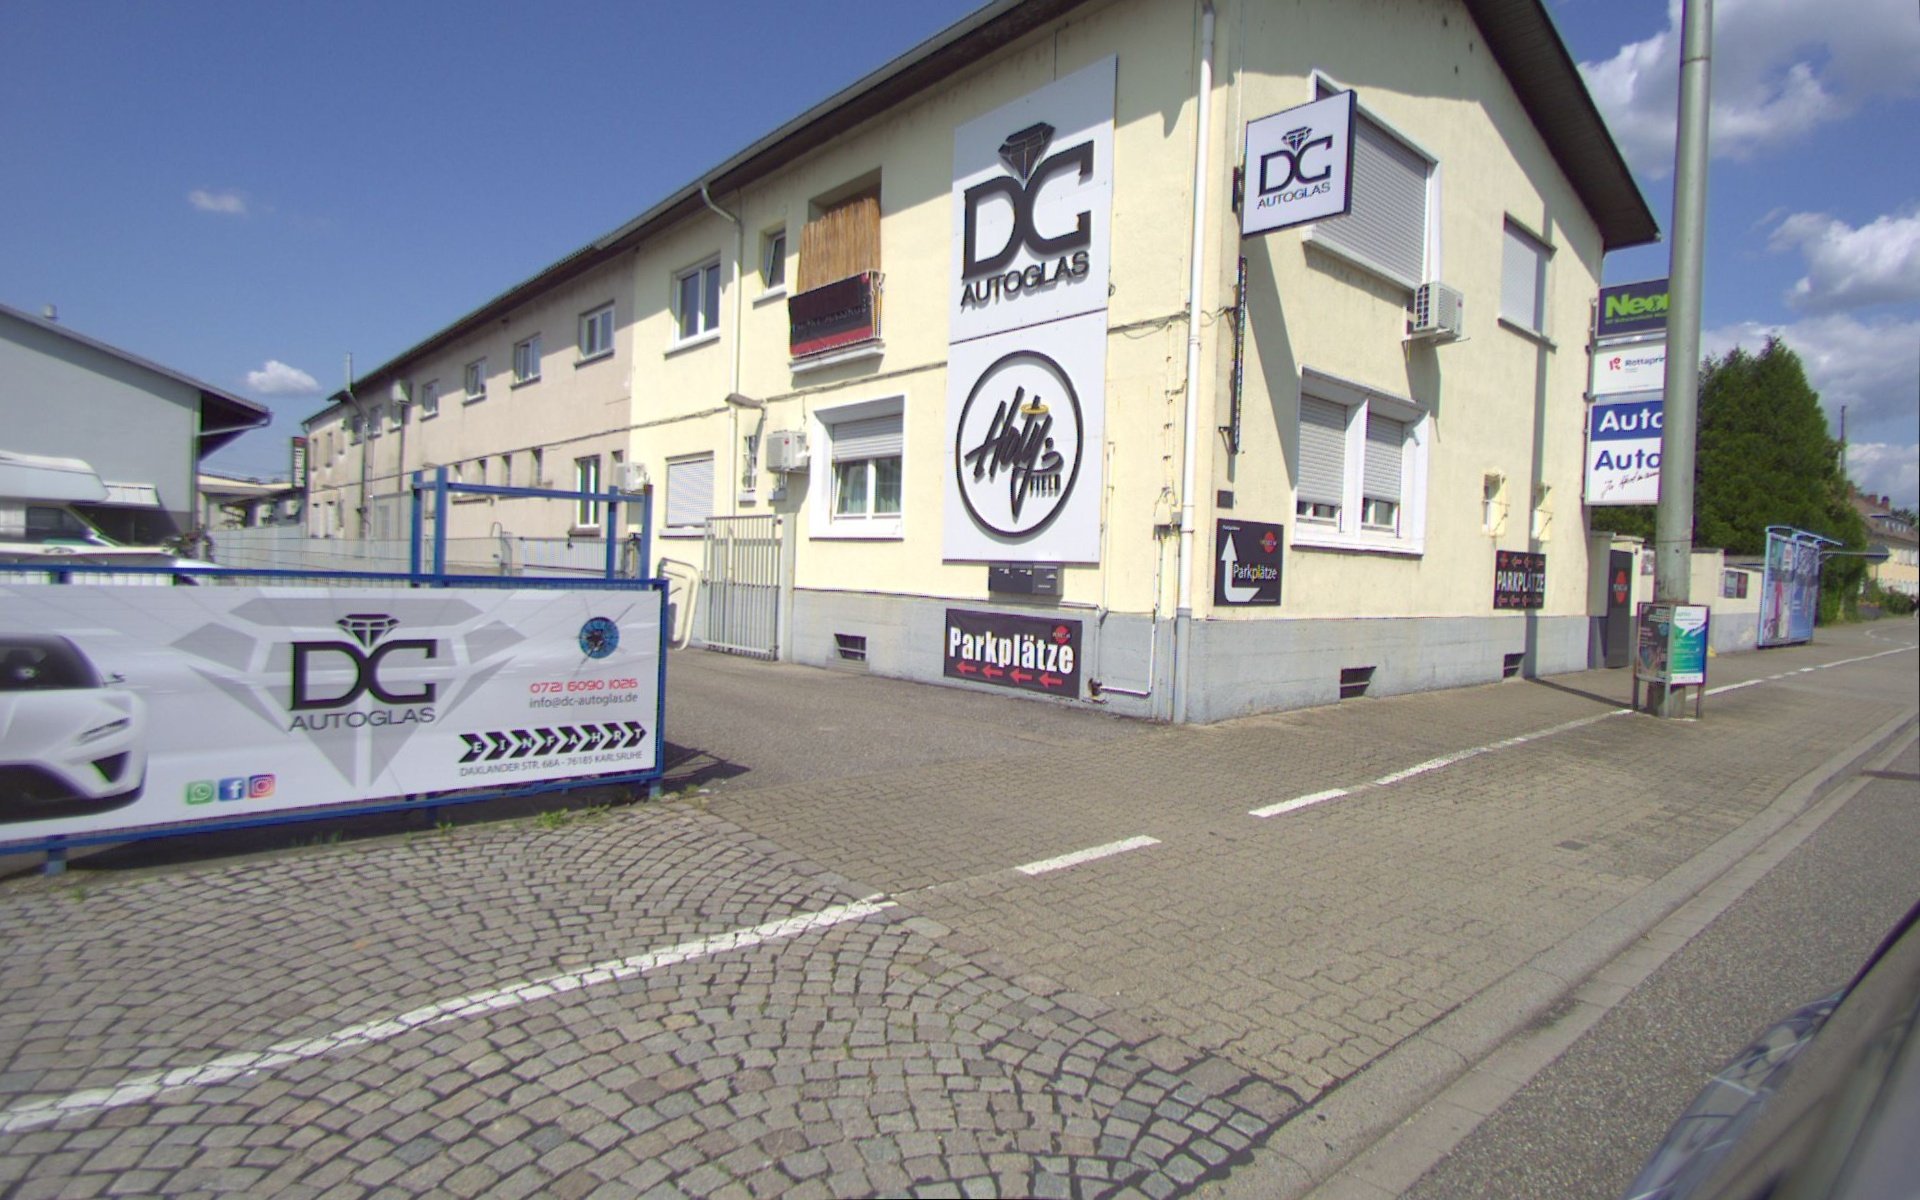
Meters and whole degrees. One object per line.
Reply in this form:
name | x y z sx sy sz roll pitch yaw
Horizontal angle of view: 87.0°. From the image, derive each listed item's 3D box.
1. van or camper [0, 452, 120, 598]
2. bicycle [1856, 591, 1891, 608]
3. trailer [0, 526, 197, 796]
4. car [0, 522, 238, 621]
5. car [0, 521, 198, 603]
van or camper | -19.847 -1.500 19.889 4.980 2.807 2.310 -1 4 -44
bicycle | 61.681 -0.024 68.358 0.285 1.116 1.692 1 2 -41
trailer | -5.665 0.240 6.323 1.280 1.349 2.789 0 4 -40
car | -13.961 -0.471 15.895 4.111 1.433 1.756 -1 4 -43
car | -16.546 -0.710 18.439 4.111 1.405 1.925 -1 4 -43
